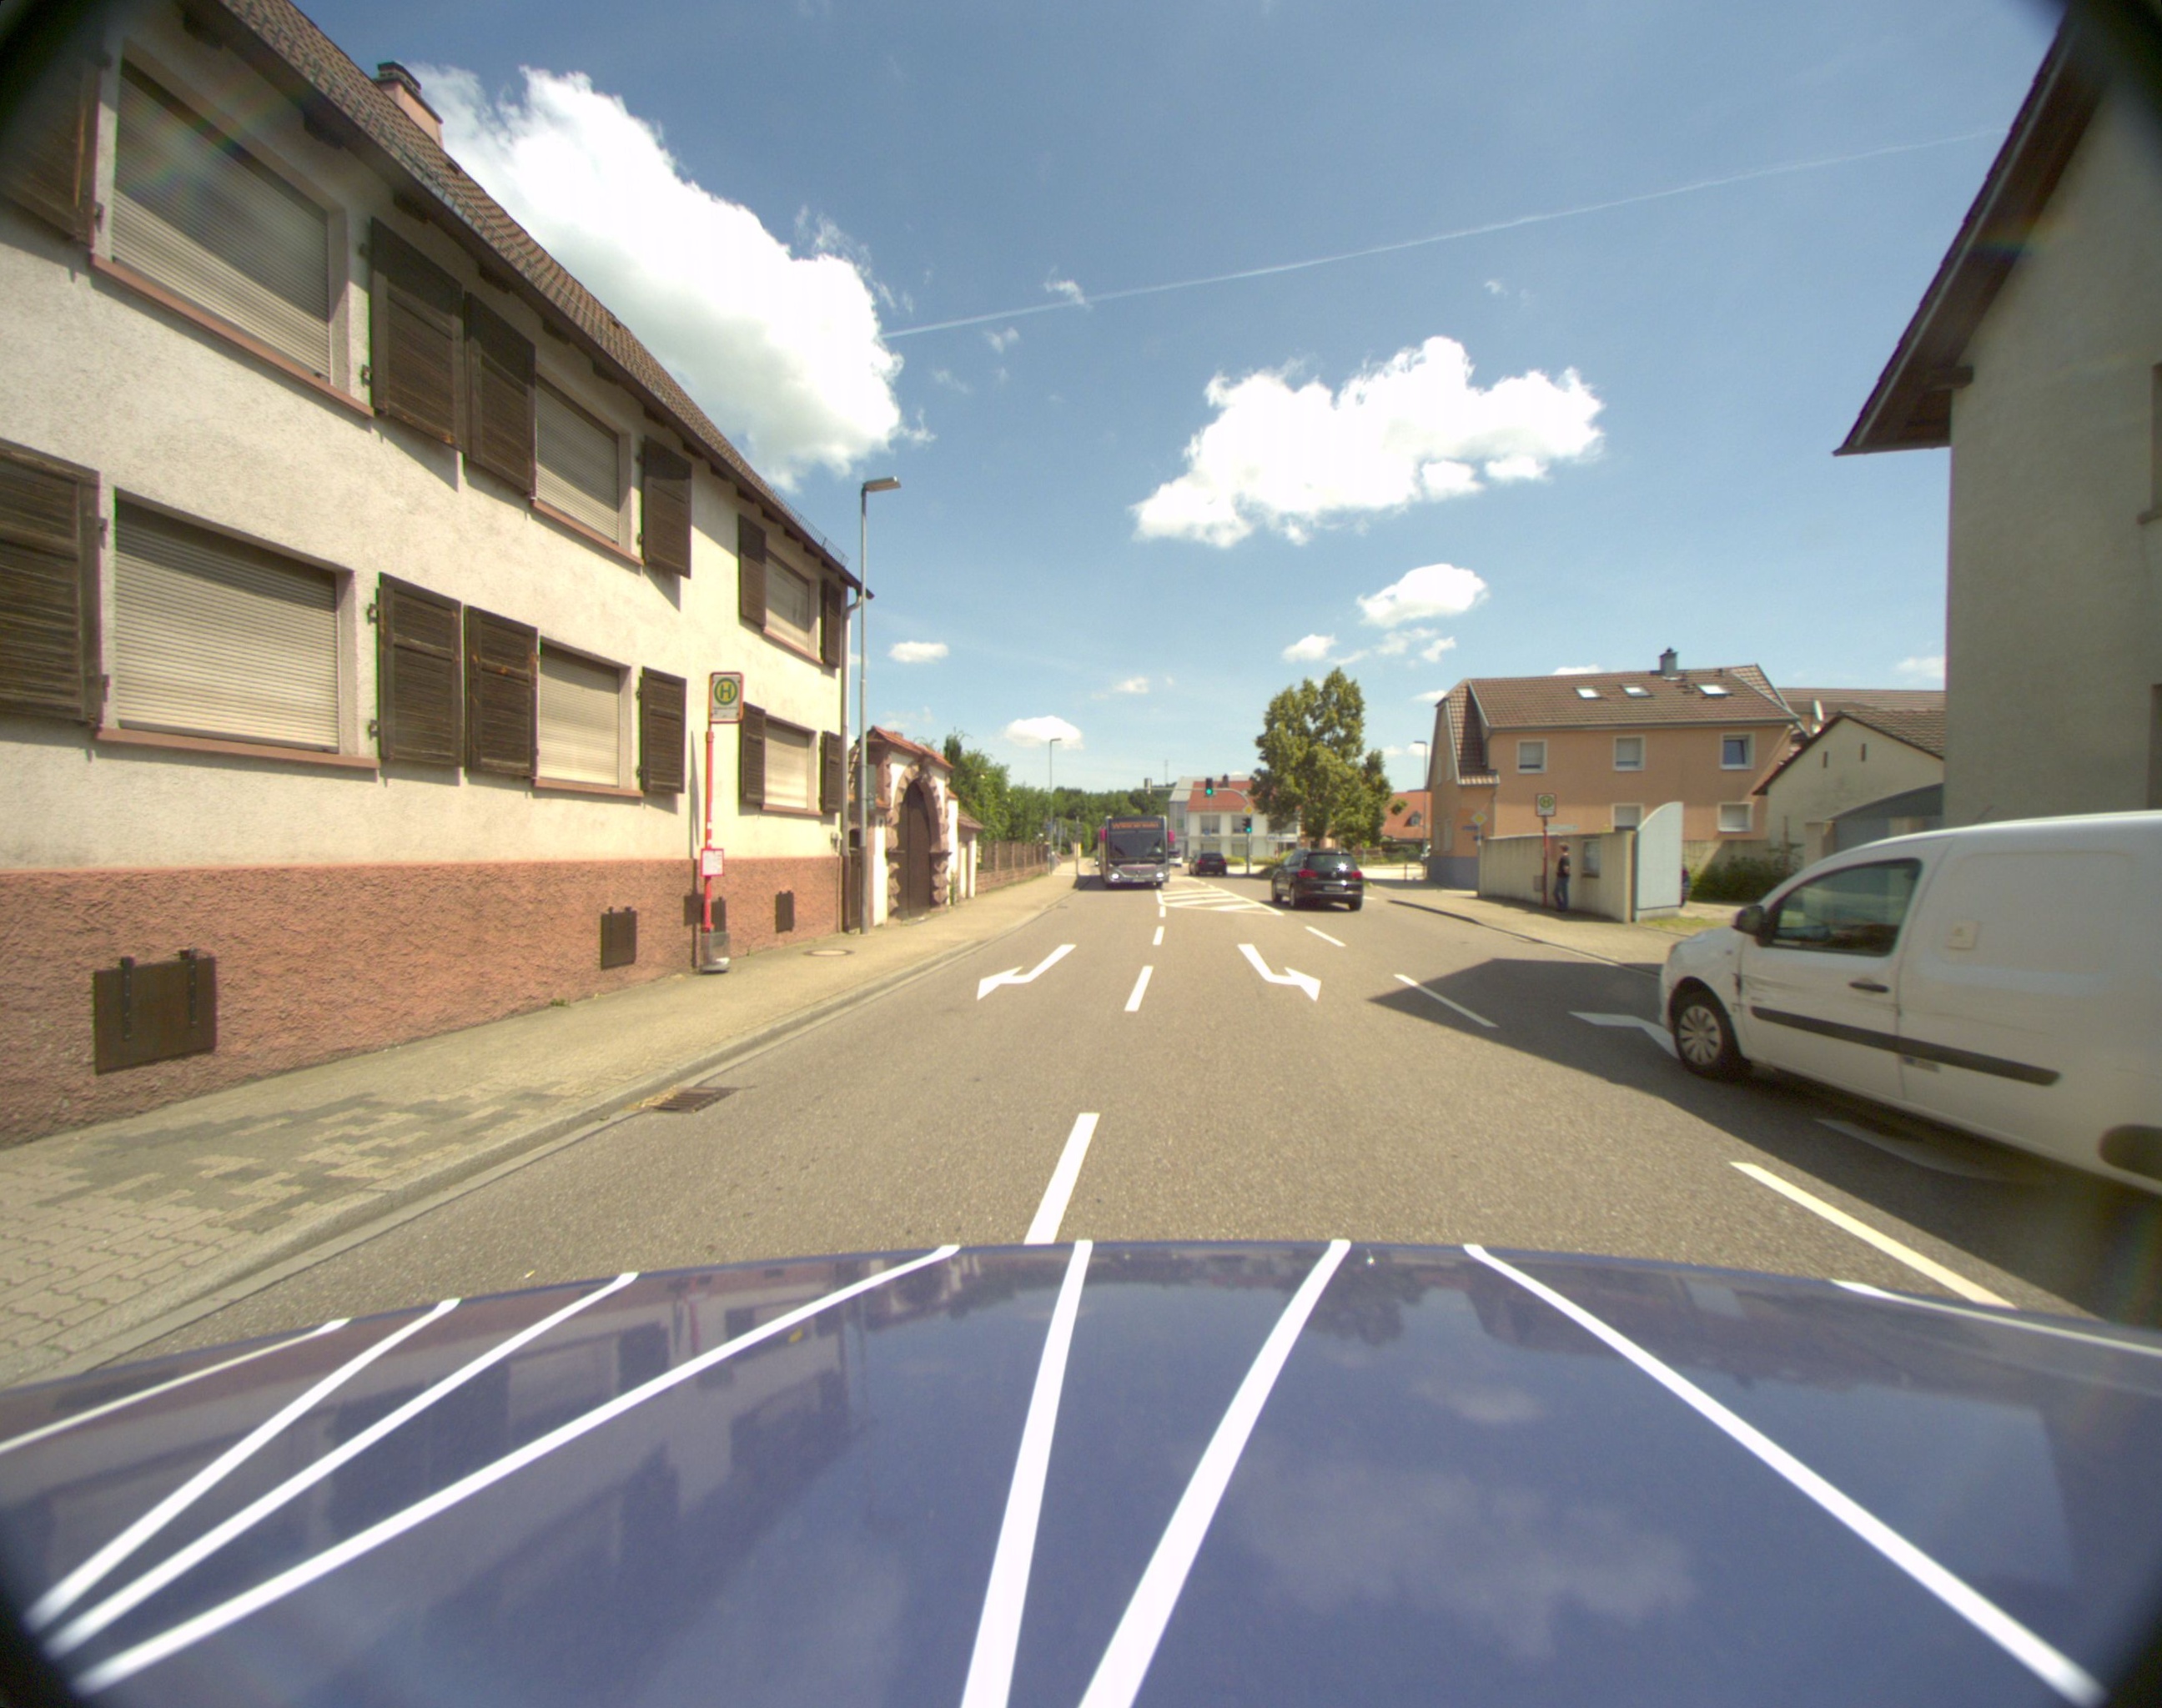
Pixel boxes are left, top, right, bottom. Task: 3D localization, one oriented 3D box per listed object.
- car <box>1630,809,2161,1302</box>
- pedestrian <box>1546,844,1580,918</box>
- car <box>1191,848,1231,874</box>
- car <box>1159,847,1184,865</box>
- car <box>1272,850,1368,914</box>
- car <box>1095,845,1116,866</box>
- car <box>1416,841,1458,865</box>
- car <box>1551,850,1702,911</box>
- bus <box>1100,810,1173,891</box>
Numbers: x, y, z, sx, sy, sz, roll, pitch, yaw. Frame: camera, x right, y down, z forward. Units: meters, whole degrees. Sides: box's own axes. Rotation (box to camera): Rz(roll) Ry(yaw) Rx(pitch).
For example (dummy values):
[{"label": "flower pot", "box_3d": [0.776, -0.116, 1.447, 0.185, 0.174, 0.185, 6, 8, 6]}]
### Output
[{"label": "car", "box_3d": [5.035, 0.749, 3.726, 1.786, 1.819, 4.602, 1, 1, 8]}, {"label": "pedestrian", "box_3d": [11.642, 0.635, 18.351, 0.471, 1.754, 0.478, 0, 1, -13]}, {"label": "car", "box_3d": [7.660, 0.378, 45.159, 1.784, 1.448, 4.531, 0, 1, 2]}, {"label": "car", "box_3d": [7.712, 0.130, 65.361, 1.784, 1.448, 4.531, 0, 1, 2]}, {"label": "car", "box_3d": [6.579, 0.690, 21.337, 1.752, 1.602, 4.001, 0, 1, 5]}, {"label": "car", "box_3d": [2.301, 0.125, 70.429, 1.787, 1.819, 4.352, 1, 1, 2]}, {"label": "car", "box_3d": [38.950, -0.121, 83.045, 5.219, 2.432, 1.995, -3, 1, -39]}, {"label": "car", "box_3d": [15.716, 0.694, 22.181, 1.752, 1.602, 4.001, 0, 1, 5]}, {"label": "bus", "box_3d": [2.405, -0.232, 39.349, 2.859, 3.186, 19.031, 0, 1, 1]}]
